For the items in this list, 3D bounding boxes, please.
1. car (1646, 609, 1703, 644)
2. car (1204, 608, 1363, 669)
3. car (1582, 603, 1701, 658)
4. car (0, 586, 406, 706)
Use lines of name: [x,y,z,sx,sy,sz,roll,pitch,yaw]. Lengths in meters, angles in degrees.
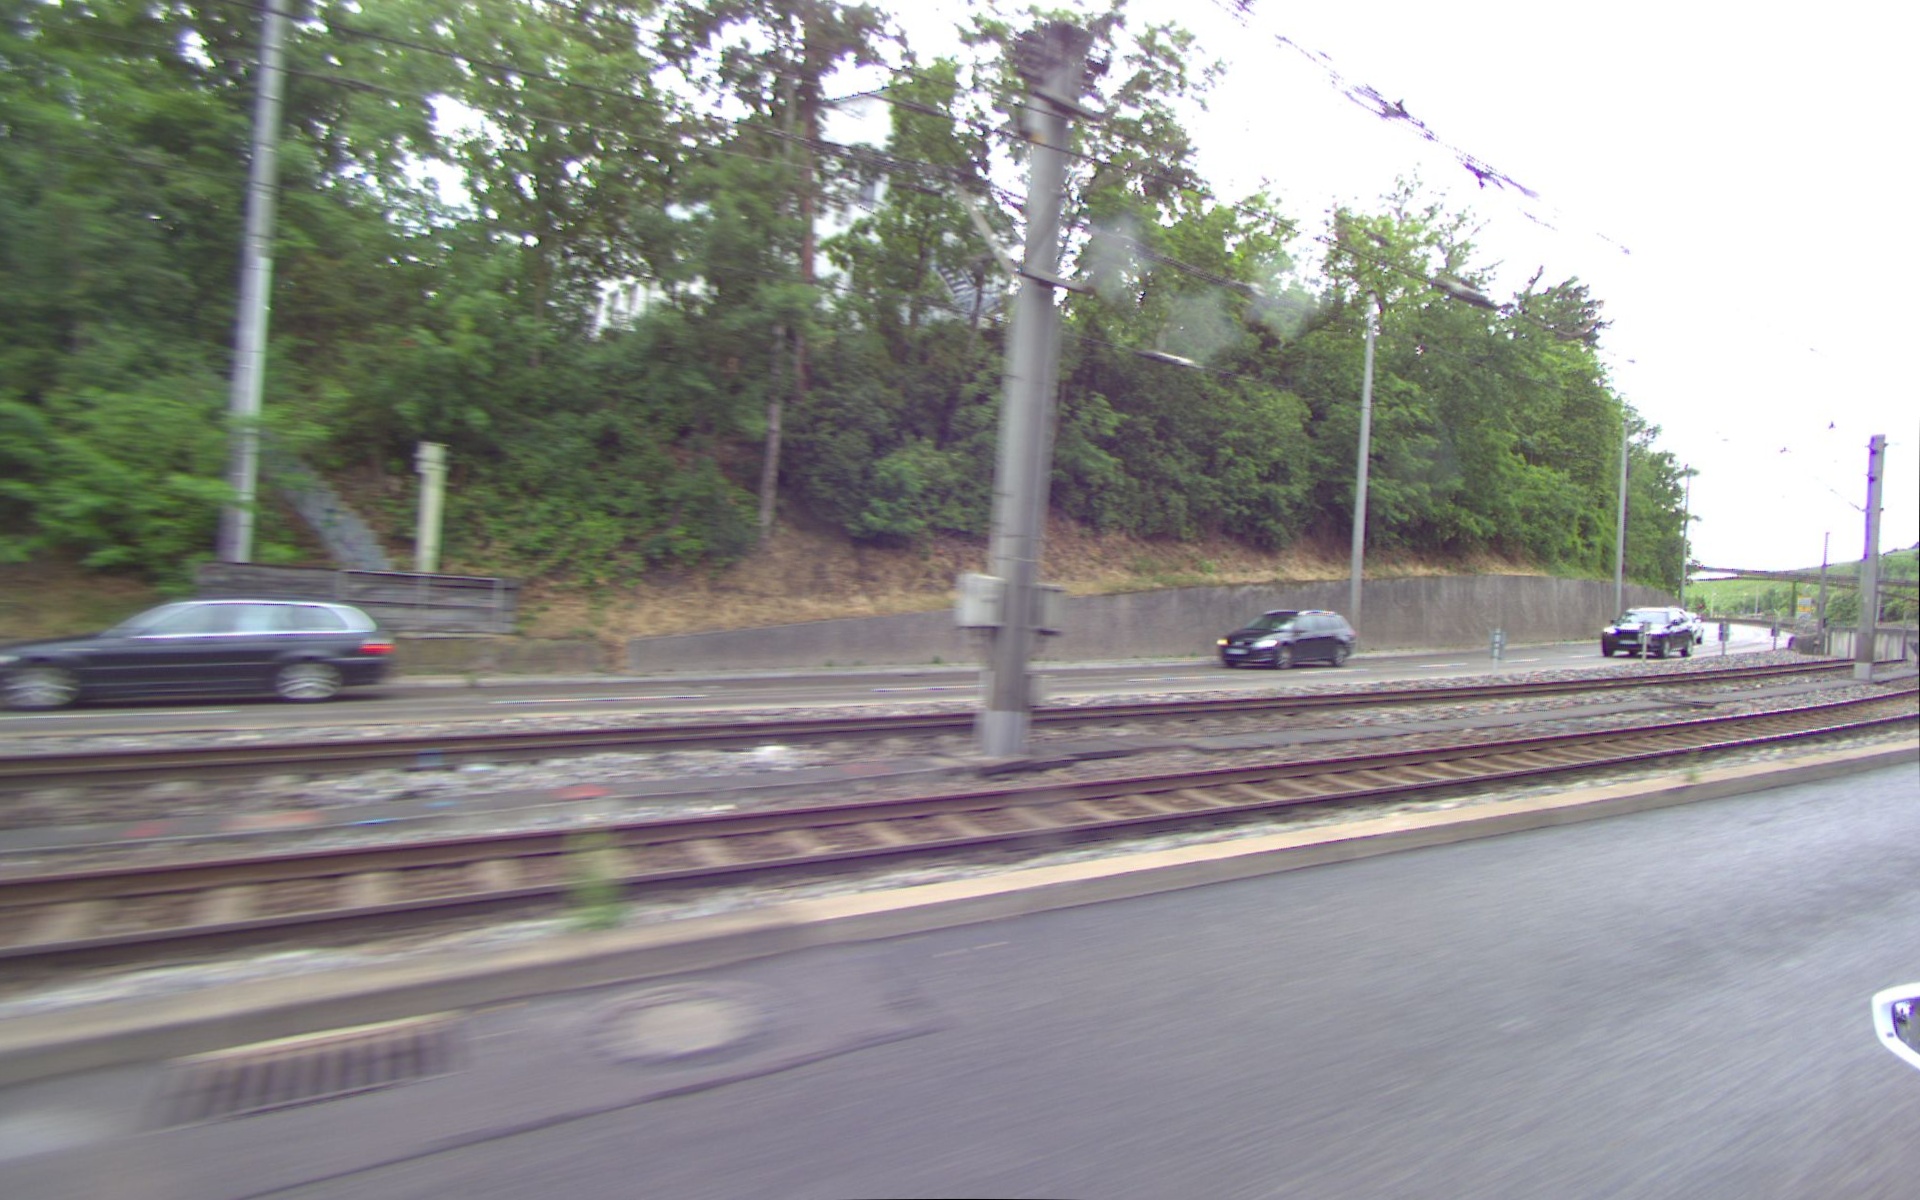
car: [38.004,1.401,53.405,1.914,1.706,4.383,1,0,43]
car: [8.549,0.987,26.391,4.373,1.490,1.811,2,-1,-38]
car: [25.084,1.094,36.916,5.093,1.855,2.216,2,0,-39]
car: [-9.999,0.577,13.530,4.400,1.400,1.884,1,0,-30]
